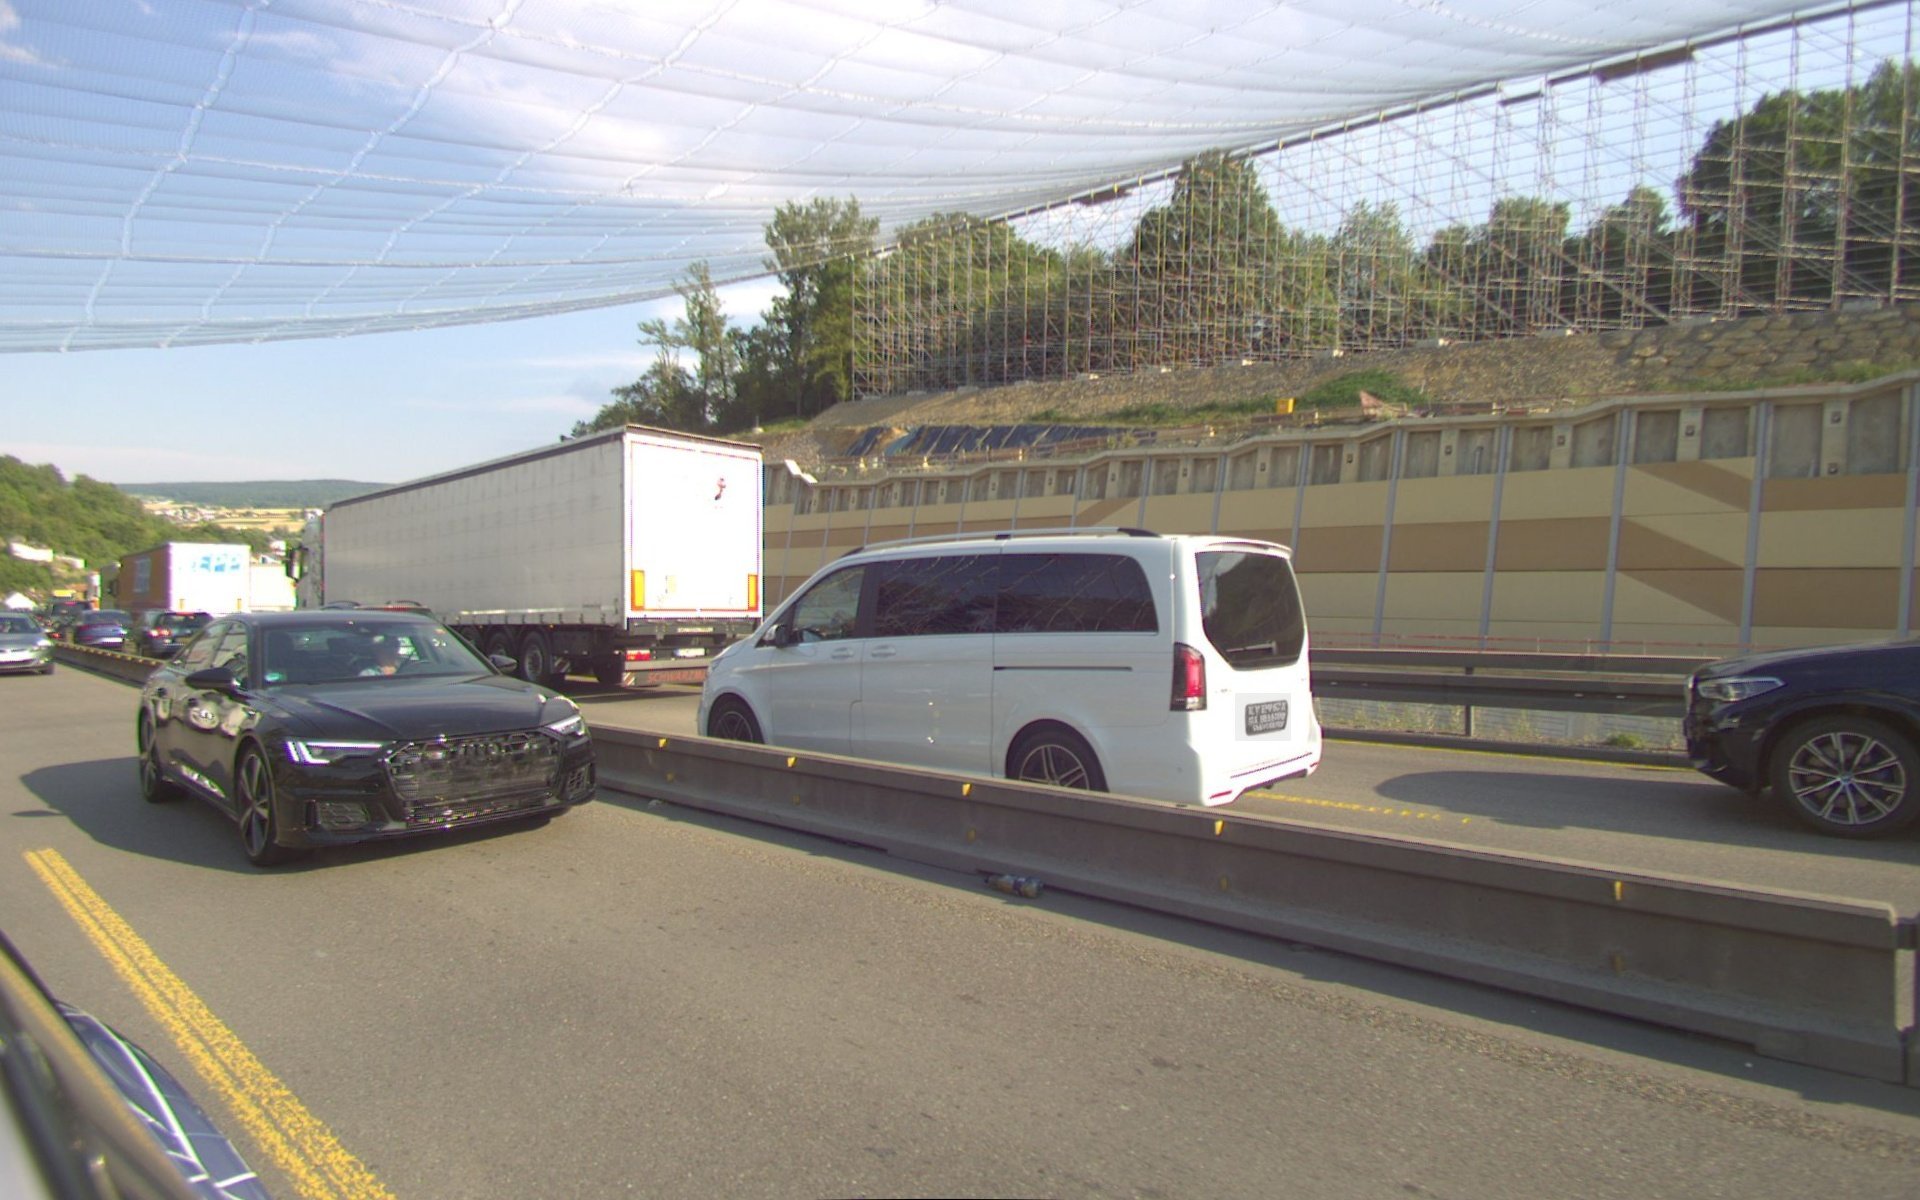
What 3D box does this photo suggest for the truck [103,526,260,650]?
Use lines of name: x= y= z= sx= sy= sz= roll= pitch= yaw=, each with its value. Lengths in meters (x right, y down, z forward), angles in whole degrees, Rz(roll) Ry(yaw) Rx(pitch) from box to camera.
truck: x=-34.842 y=-0.381 z=44.789 sx=17.411 sy=4.593 sz=2.954 roll=-1 pitch=0 yaw=44

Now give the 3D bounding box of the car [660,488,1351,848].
car: x=-0.009 y=0.371 z=7.709 sx=5.278 sy=1.883 sz=1.790 roll=-1 pitch=0 yaw=41

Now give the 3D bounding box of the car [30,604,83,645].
car: x=-42.046 y=1.115 z=47.079 sx=1.702 sy=1.841 sz=3.295 roll=-1 pitch=0 yaw=-44

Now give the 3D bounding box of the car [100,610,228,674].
car: x=-21.424 y=1.071 z=27.169 sx=4.643 sy=1.546 sz=1.914 roll=-1 pitch=0 yaw=41

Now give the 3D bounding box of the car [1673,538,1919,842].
car: x=7.059 y=0.495 z=5.620 sx=4.933 sy=1.740 sz=1.805 roll=-1 pitch=0 yaw=40

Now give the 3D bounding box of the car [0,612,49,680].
car: x=-22.533 y=1.030 z=23.507 sx=4.354 sy=1.484 sz=1.736 roll=-1 pitch=0 yaw=44

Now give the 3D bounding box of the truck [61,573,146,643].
truck: x=-62.563 y=0.610 z=73.698 sx=17.411 sy=4.593 sz=2.954 roll=-1 pitch=0 yaw=44

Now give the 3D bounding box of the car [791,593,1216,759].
car: x=0.310 y=0.734 z=11.791 sx=4.906 sy=1.552 sz=1.774 roll=-1 pitch=0 yaw=41

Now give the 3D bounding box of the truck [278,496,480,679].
truck: x=-14.293 y=-0.258 z=24.705 sx=6.047 sy=3.937 sz=2.489 roll=-1 pitch=0 yaw=42

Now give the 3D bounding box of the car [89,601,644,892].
car: x=-4.544 y=0.769 z=7.346 sx=4.956 sy=1.409 sz=1.915 roll=-1 pitch=0 yaw=40

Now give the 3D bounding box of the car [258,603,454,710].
car: x=-10.201 y=0.860 z=16.958 sx=4.216 sy=1.563 sz=1.566 roll=-1 pitch=0 yaw=41

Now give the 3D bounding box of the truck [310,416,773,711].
truck: x=-9.251 y=-0.474 z=20.308 sx=14.163 sy=4.259 sz=2.693 roll=-1 pitch=0 yaw=42

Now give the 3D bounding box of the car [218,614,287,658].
car: x=-24.450 y=1.204 z=34.945 sx=3.294 sy=1.425 sz=1.352 roll=-1 pitch=0 yaw=44

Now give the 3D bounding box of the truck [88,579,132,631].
truck: x=-84.611 y=0.528 z=100.622 sx=3.122 sy=4.881 sz=14.378 roll=-1 pitch=0 yaw=-41

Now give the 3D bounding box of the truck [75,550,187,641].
truck: x=-47.959 y=-0.179 z=58.216 sx=17.411 sy=4.593 sz=2.954 roll=-1 pitch=0 yaw=44

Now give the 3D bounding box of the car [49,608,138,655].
car: x=-30.689 y=1.073 z=35.791 sx=4.979 sy=1.530 sz=1.913 roll=-1 pitch=0 yaw=44
